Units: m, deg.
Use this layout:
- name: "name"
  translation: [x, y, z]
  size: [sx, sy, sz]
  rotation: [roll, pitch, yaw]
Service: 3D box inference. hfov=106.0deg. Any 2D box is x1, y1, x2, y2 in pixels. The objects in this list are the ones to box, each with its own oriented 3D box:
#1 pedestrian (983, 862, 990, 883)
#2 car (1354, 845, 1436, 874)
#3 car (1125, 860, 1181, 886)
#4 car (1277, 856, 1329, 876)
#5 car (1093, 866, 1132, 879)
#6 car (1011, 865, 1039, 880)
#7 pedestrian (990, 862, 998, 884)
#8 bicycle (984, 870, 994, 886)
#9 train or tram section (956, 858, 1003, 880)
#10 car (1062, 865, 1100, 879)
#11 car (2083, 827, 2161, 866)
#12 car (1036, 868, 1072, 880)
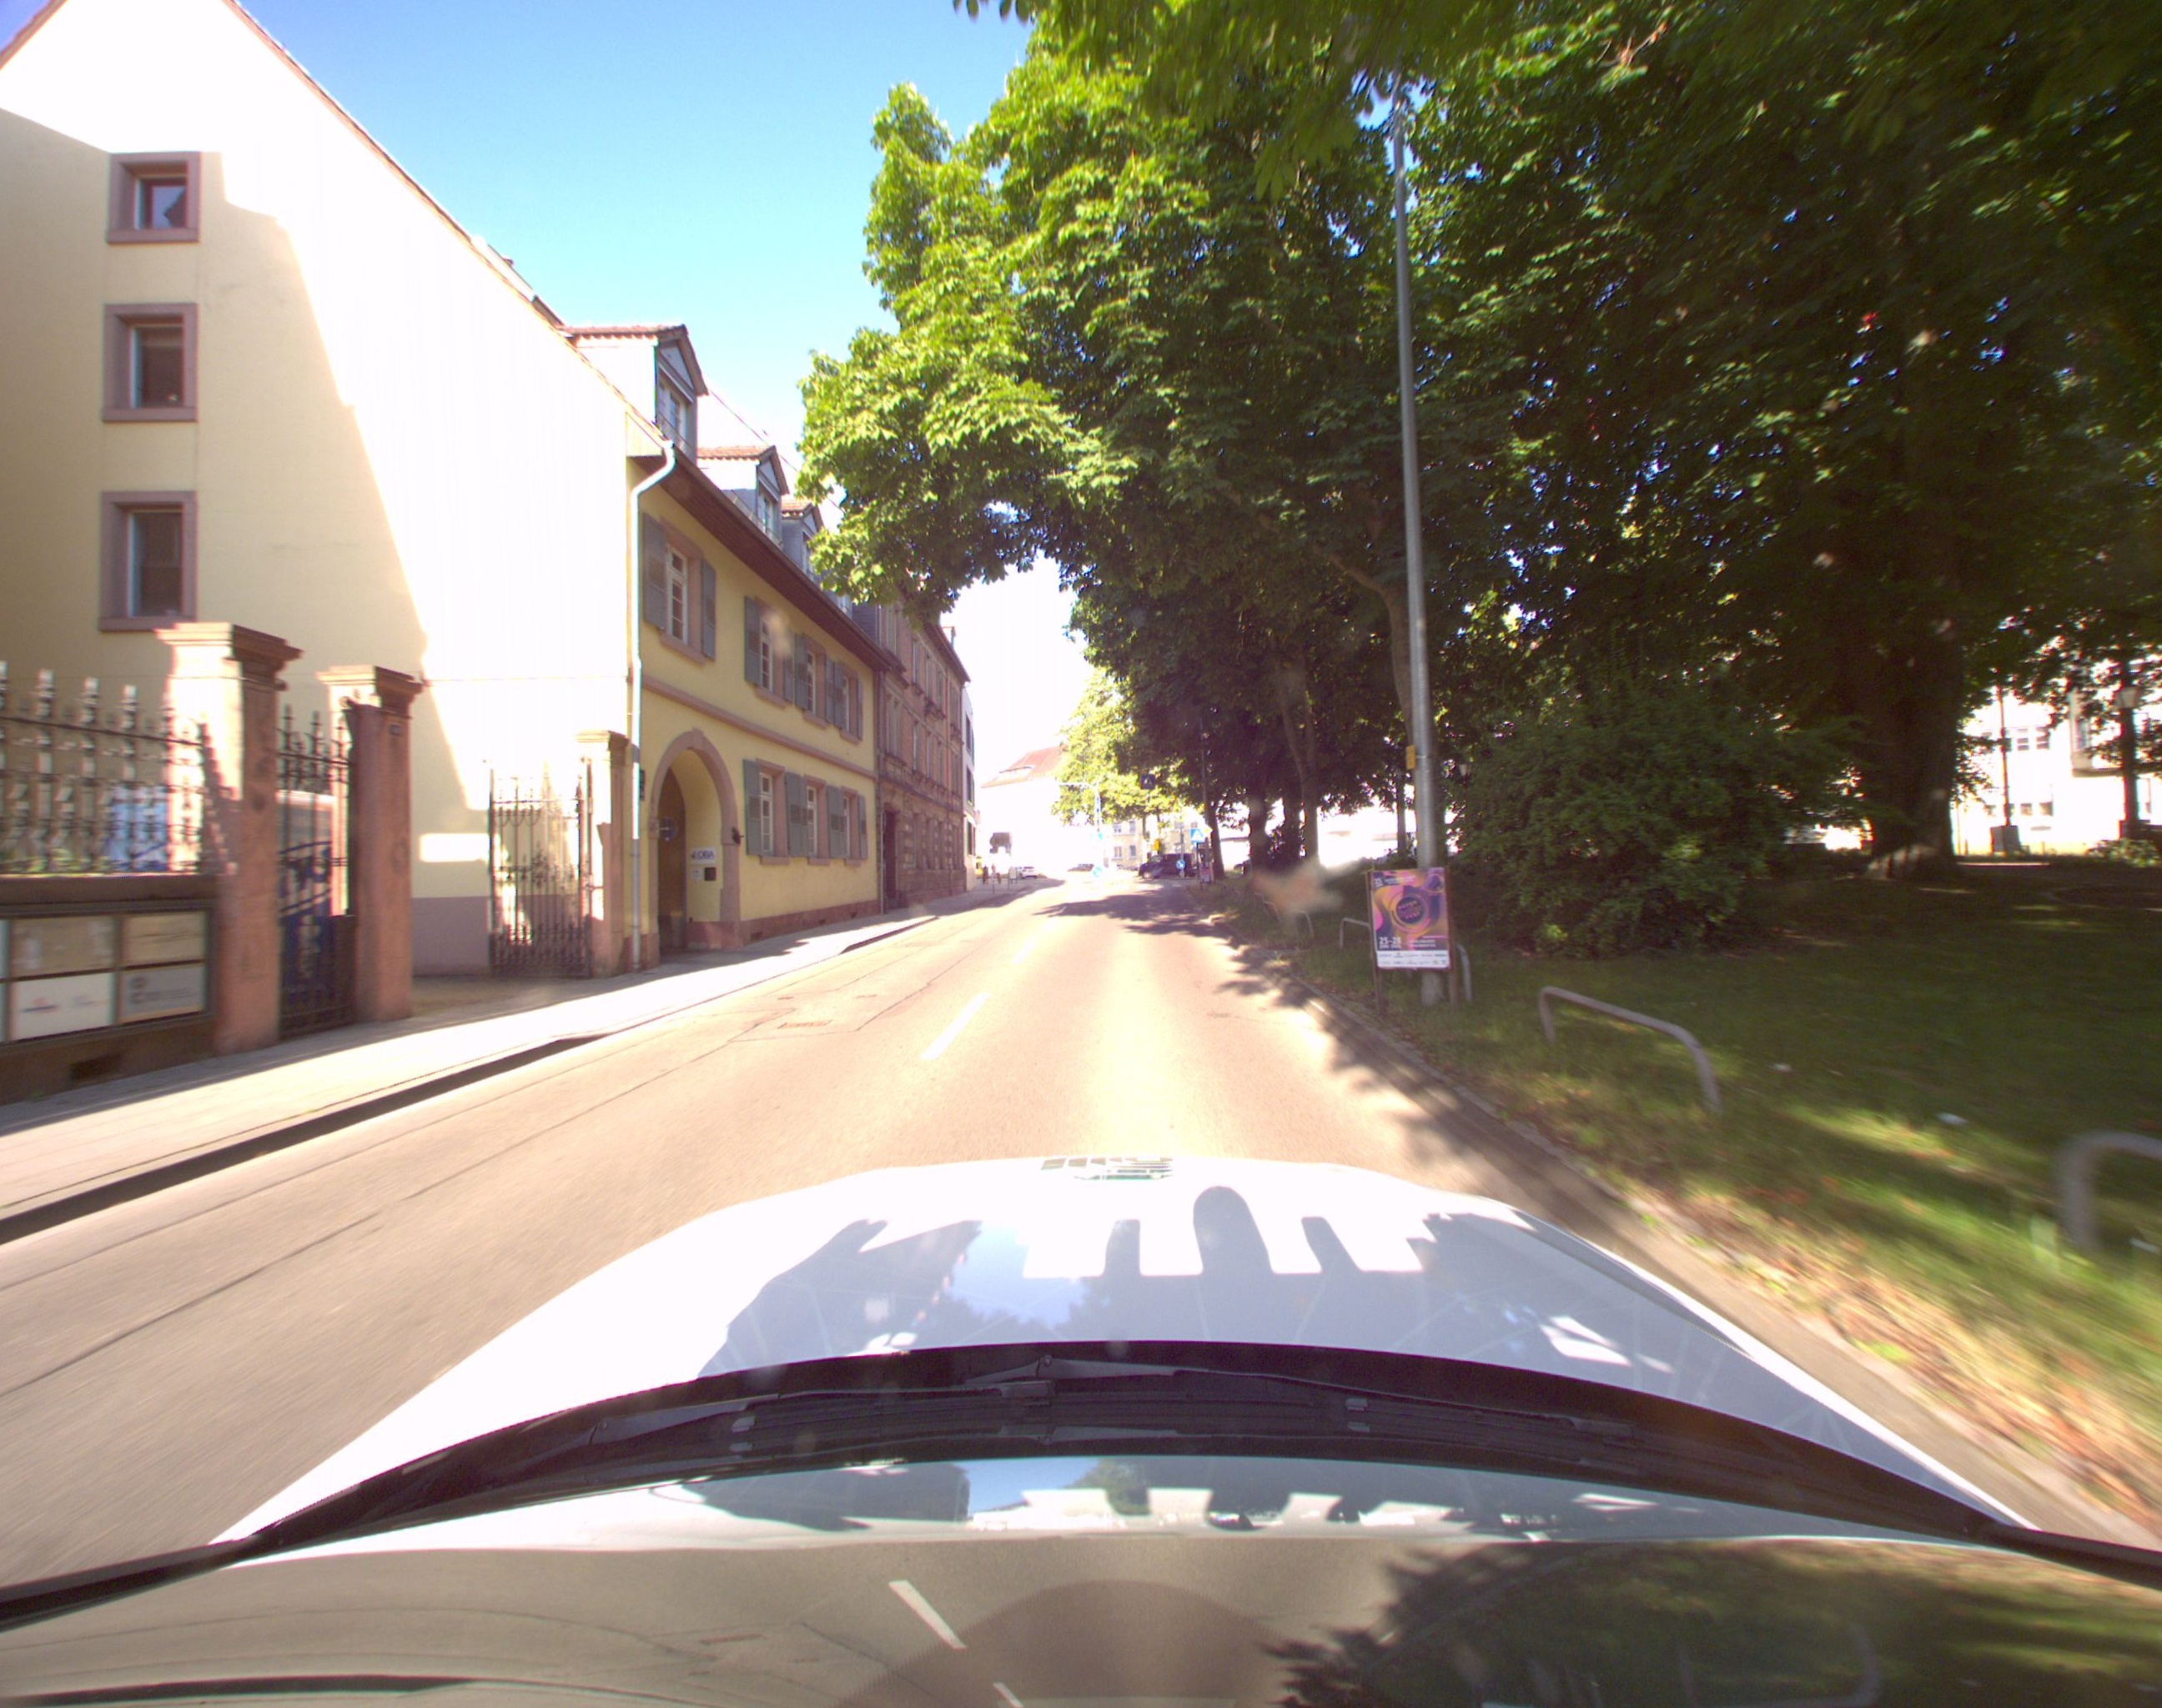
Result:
- name: "pedestrian"
  translation: [-7.205, 1.431, 62.137]
  size: [0.475, 1.565, 0.599]
  rotation: [-1, -1, -17]
- name: "car"
  translation: [21.496, 0.400, 55.917]
  size: [4.839, 1.854, 2.013]
  rotation: [-2, -1, 38]
- name: "car"
  translation: [5.709, 1.480, 64.671]
  size: [3.950, 2.014, 2.012]
  rotation: [-1, -2, 26]
- name: "car"
  translation: [20.439, 1.151, 75.038]
  size: [2.011, 1.749, 4.158]
  rotation: [-1, -1, -42]
- name: "car"
  translation: [3.653, 2.154, 94.352]
  size: [2.011, 1.386, 4.392]
  rotation: [-1, -1, -42]
- name: "car"
  translation: [-5.752, 1.896, 83.584]
  size: [1.965, 1.505, 3.661]
  rotation: [-2, -1, -19]
- name: "pedestrian"
  translation: [-6.628, 1.480, 62.177]
  size: [0.475, 1.648, 0.599]
  rotation: [-2, -3, -17]
- name: "bicycle"
  translation: [-6.968, 1.835, 61.658]
  size: [0.441, 1.178, 1.956]
  rotation: [0, -1, -16]
- name: "train or tram section"
  translation: [-17.353, 2.612, 140.164]
  size: [2.749, 3.556, 9.979]
  rotation: [-2, -2, 28]
- name: "car"
  translation: [-0.030, 2.188, 98.619]
  size: [2.011, 1.572, 4.585]
  rotation: [-1, -2, -42]
- name: "car"
  translation: [42.639, -0.326, 32.160]
  size: [1.685, 1.422, 3.754]
  rotation: [-2, -1, -42]
- name: "car"
  translation: [-3.442, 2.542, 102.530]
  size: [4.391, 1.386, 2.012]
  rotation: [-2, -1, 45]
